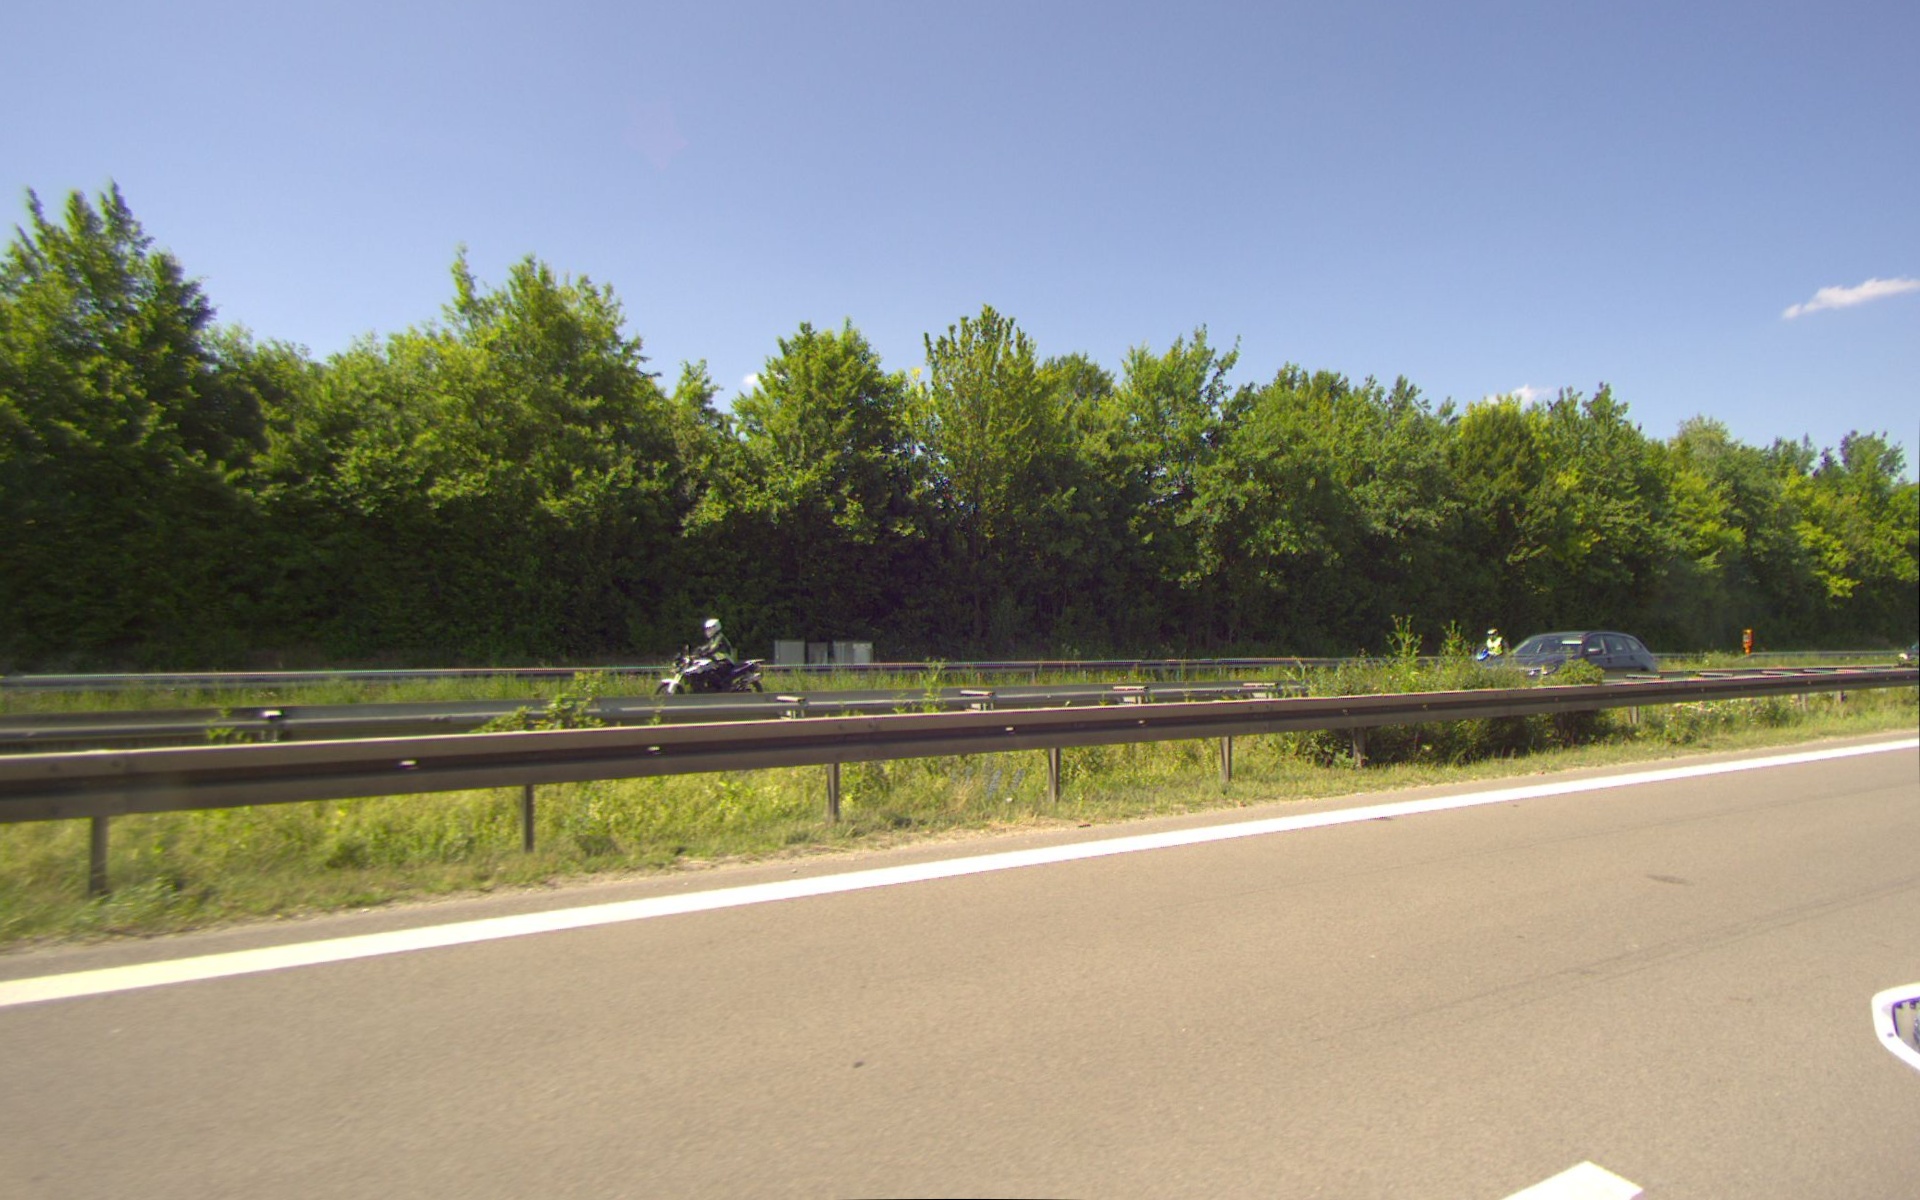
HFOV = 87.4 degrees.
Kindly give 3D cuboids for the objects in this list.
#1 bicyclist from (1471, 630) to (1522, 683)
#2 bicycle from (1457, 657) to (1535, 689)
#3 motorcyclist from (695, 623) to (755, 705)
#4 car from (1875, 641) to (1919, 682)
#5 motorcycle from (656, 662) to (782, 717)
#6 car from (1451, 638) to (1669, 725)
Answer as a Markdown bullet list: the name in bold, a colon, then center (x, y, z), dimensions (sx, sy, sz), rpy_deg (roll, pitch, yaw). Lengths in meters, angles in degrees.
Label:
- **bicyclist**: center (16.638, 1.748, 31.137), dimensions (1.272, 1.597, 0.876), rpy_deg (2, -2, -30)
- **bicycle**: center (16.616, 2.249, 31.110), dimensions (2.702, 0.928, 0.897), rpy_deg (2, -2, -31)
- **motorcyclist**: center (-4.478, 1.202, 19.108), dimensions (0.920, 1.519, 0.802), rpy_deg (1, -2, -30)
- **car**: center (39.314, 2.459, 40.846), dimensions (4.505, 1.606, 1.858), rpy_deg (1, -2, -31)
- **motorcycle**: center (-4.557, 1.668, 19.043), dimensions (2.196, 0.958, 0.802), rpy_deg (2, -2, -30)
- **car**: center (12.491, 1.618, 20.850), dimensions (4.539, 1.619, 1.984), rpy_deg (2, -2, -31)
